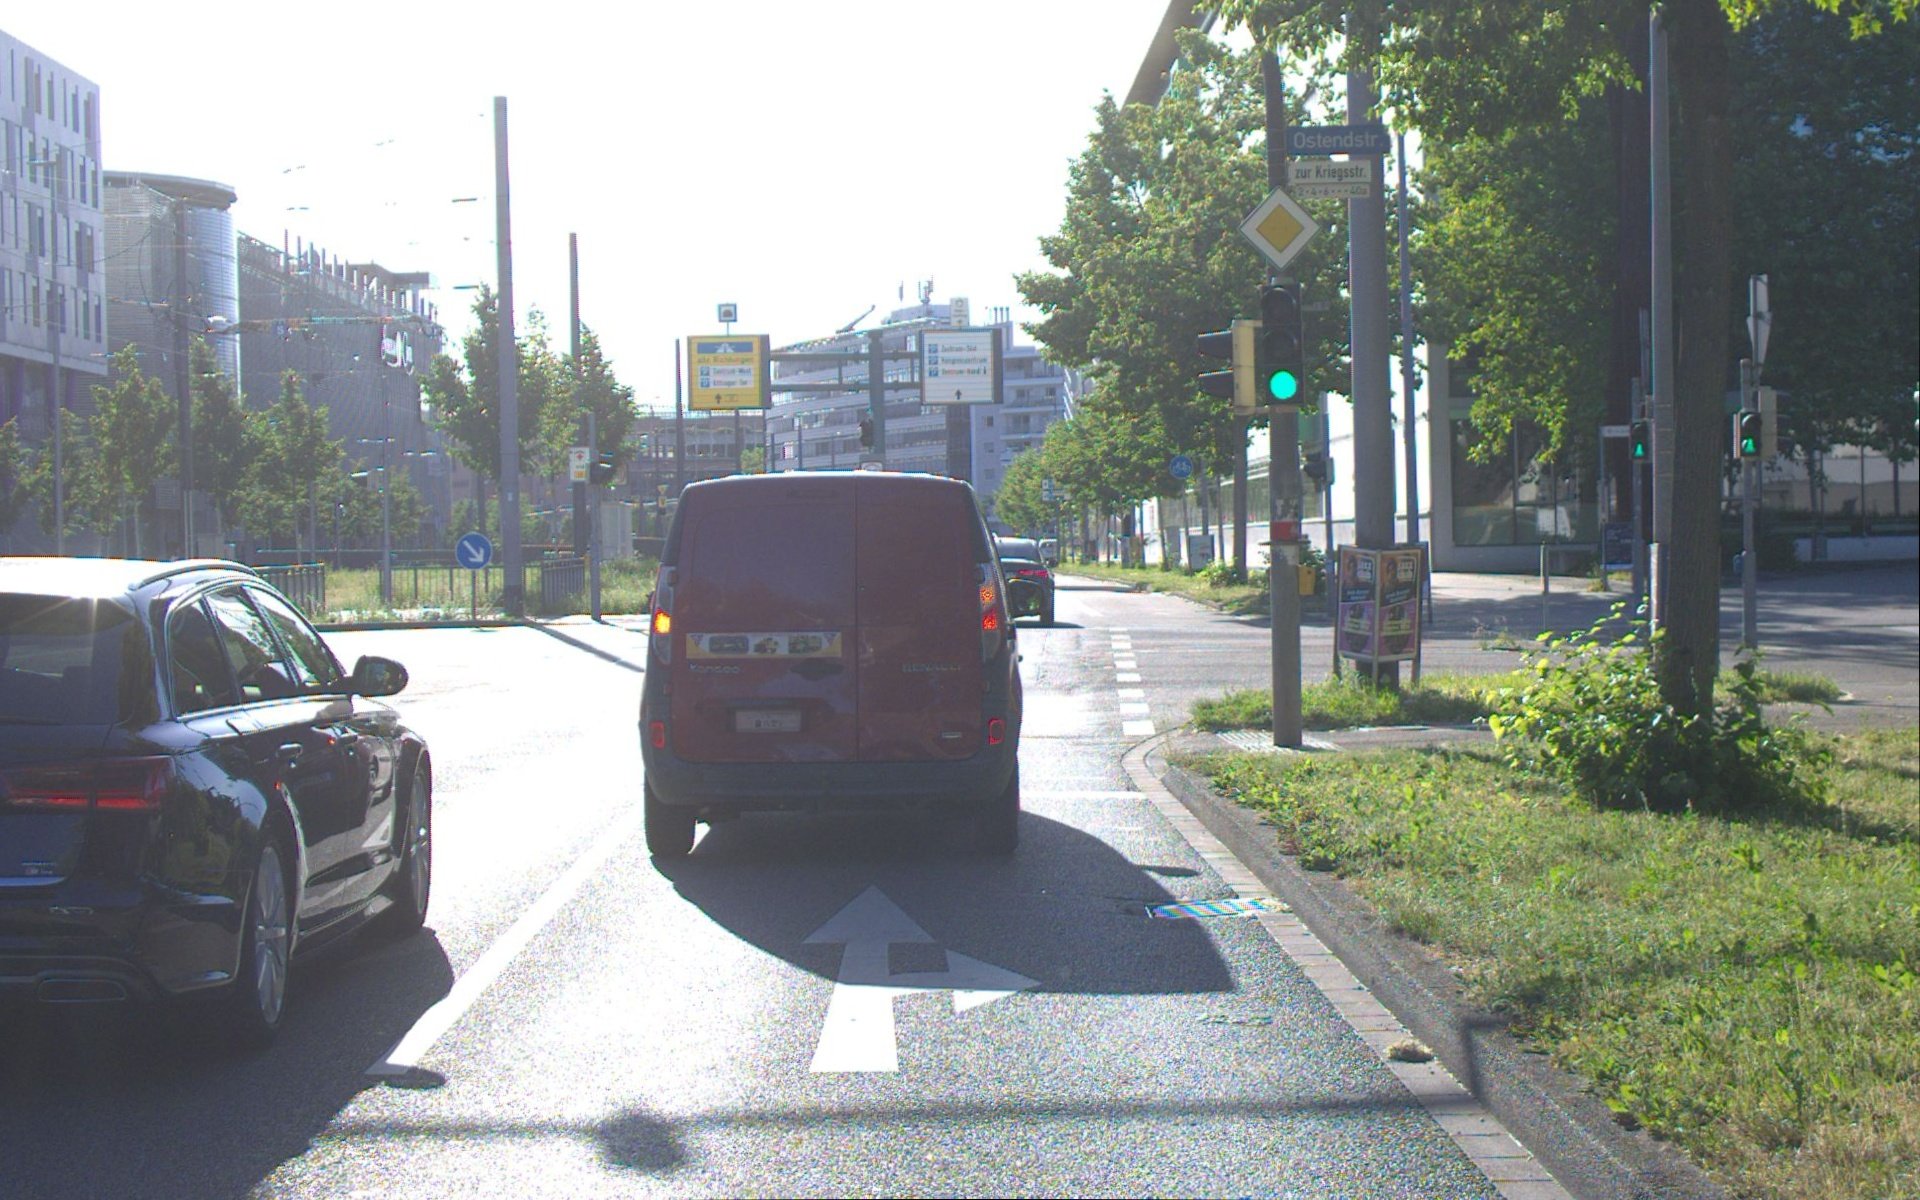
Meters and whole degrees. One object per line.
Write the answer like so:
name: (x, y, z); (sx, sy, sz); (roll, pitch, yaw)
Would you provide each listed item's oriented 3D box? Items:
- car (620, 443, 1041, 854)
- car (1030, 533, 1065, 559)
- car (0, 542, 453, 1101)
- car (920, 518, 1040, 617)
car: (-0.603, 0.179, 17.335); (1.848, 1.808, 4.114); (1, 1, -1)
car: (5.372, -3.311, 211.844); (1.852, 1.476, 4.854); (-3, 1, -1)
car: (-2.918, 0.535, 11.261); (1.812, 1.422, 4.690); (1, 1, 0)
car: (0.292, -0.552, 55.963); (1.852, 1.541, 4.000); (0, 1, -1)
